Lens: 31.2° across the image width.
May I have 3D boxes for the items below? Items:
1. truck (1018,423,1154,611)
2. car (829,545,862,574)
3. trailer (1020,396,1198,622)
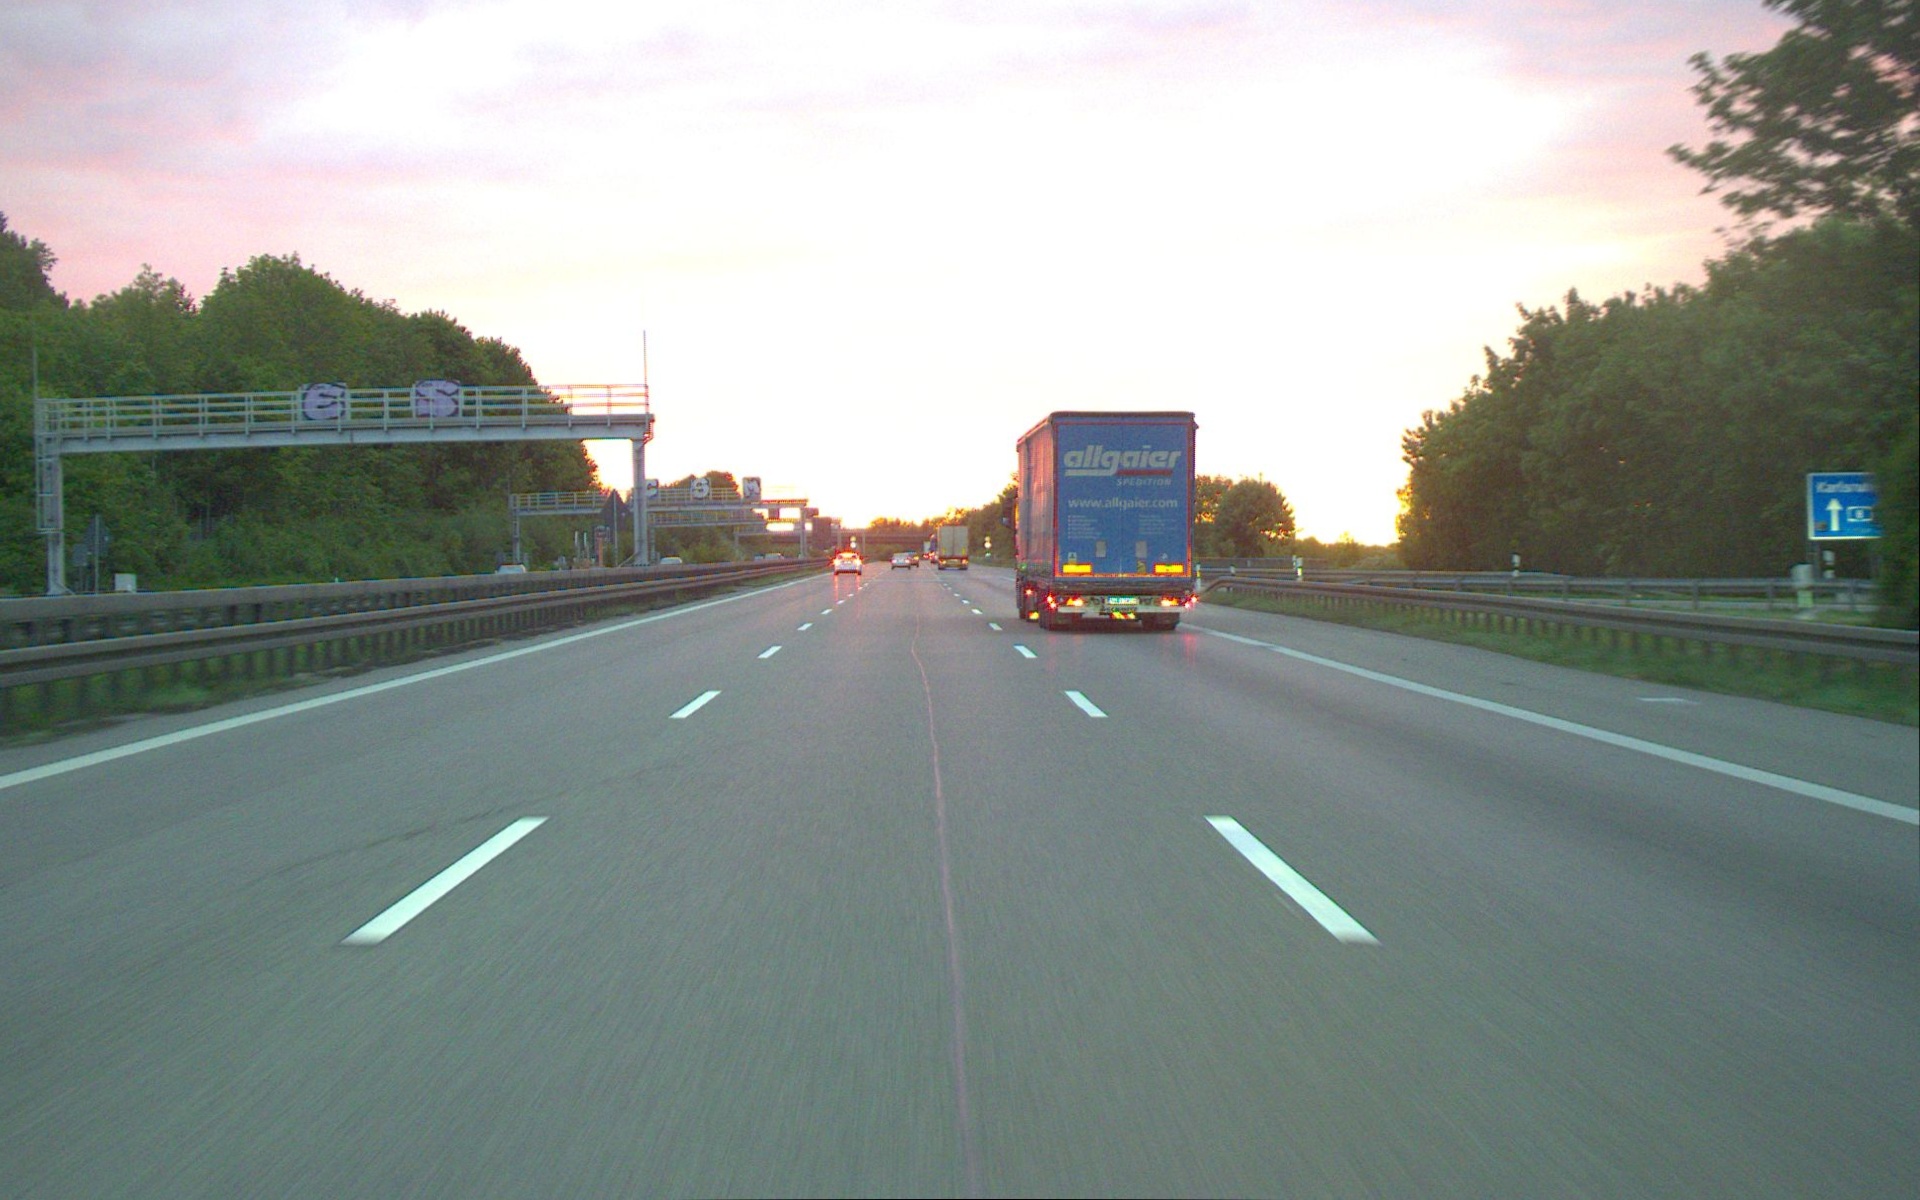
[{"bbox_3d":[2.718,-1.790,75.927,2.736,3.983,5.849,0,1,0],"label":"truck"},{"bbox_3d":[-7.568,-2.665,226.891,2.013,1.743,3.903,-4,1,-1],"label":"car"},{"bbox_3d":[2.810,-1.709,68.912,2.771,4.072,13.740,0,1,-1],"label":"trailer"}]
